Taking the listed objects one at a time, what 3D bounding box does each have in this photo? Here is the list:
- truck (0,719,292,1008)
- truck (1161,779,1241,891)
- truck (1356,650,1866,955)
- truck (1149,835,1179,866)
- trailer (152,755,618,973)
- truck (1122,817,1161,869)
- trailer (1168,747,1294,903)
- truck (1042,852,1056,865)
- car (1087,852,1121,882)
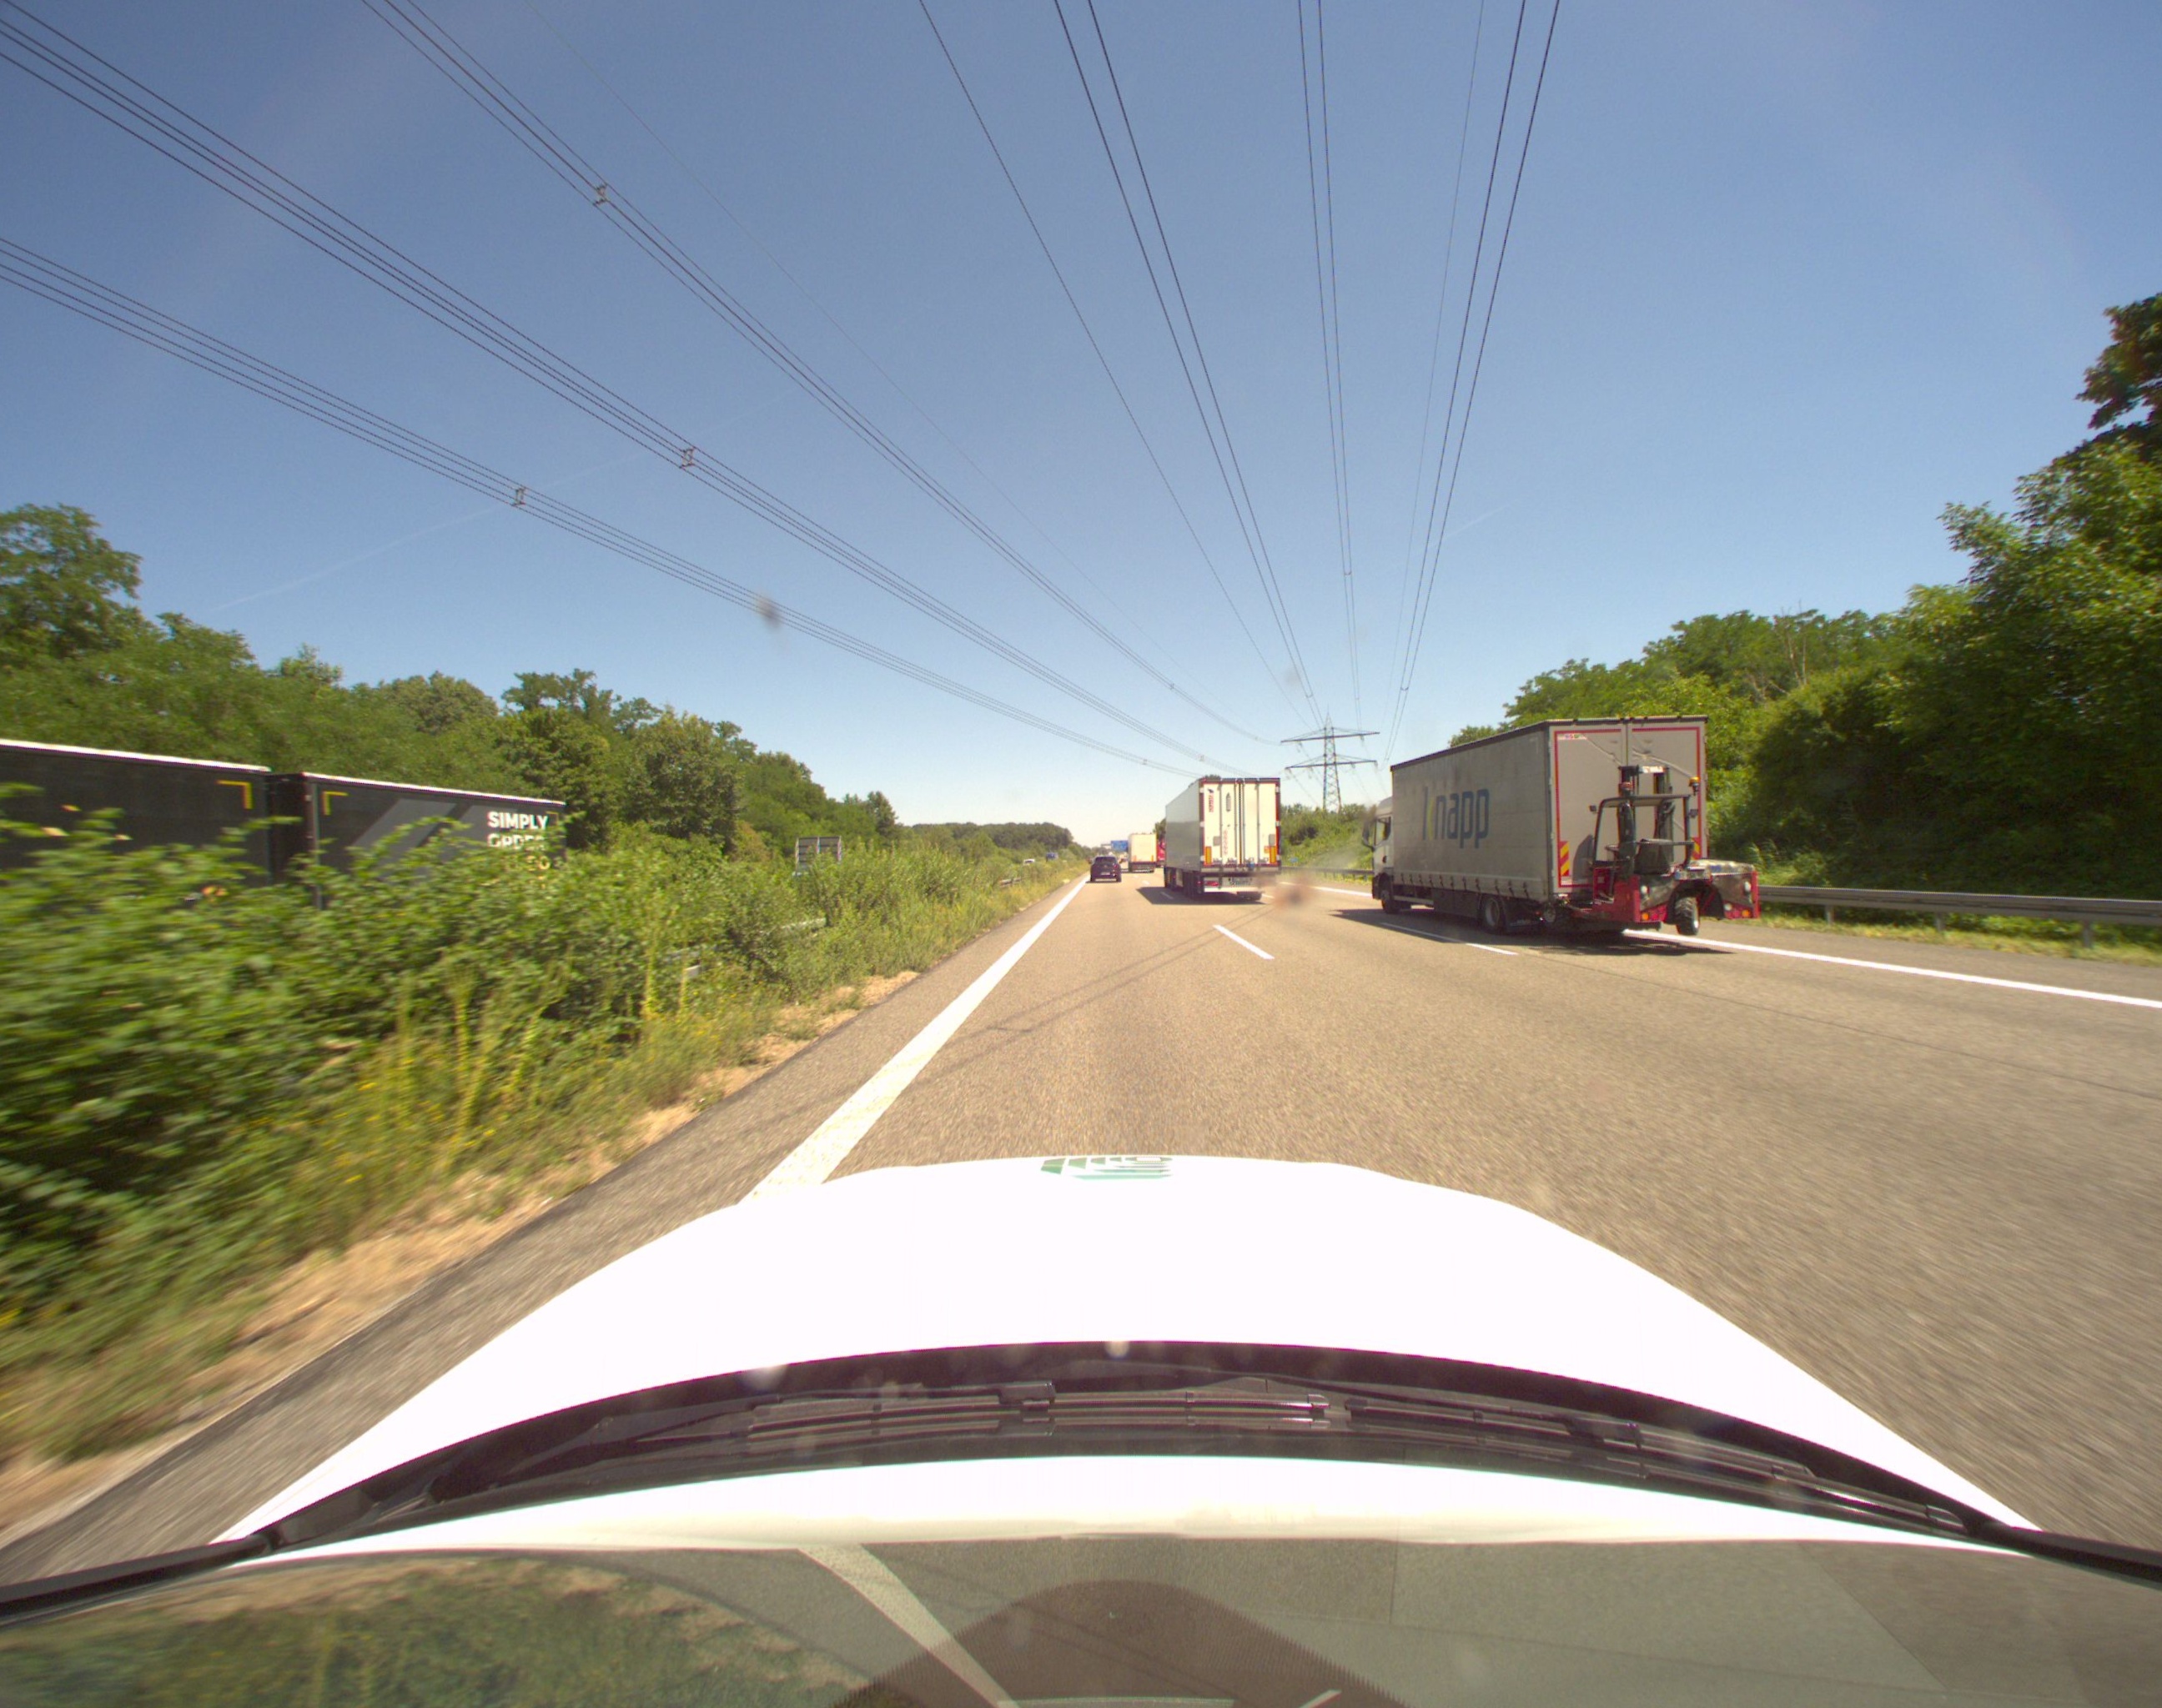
[{"bbox_3d":[-16.827,0.176,10.618,2.748,4.121,10.220,-2,-1,2],"label":"truck"},{"bbox_3d":[5.582,-0.825,38.904,3.075,4.885,6.600,0,-1,2],"label":"truck"},{"bbox_3d":[9.326,-0.679,17.171,3.557,4.245,11.658,0,0,2],"label":"truck"},{"bbox_3d":[12.777,-0.549,126.068,3.499,4.492,13.252,-1,0,1],"label":"truck"},{"bbox_3d":[-16.476,0.225,20.987,2.756,4.096,10.302,-3,-1,2],"label":"trailer"},{"bbox_3d":[6.318,-1.064,86.115,3.499,5.166,10.260,-1,0,1],"label":"truck"},{"bbox_3d":[5.352,-0.876,31.635,3.075,4.885,12.263,0,0,2],"label":"trailer"},{"bbox_3d":[-9.330,1.374,238.231,3.499,3.769,12.045,-1,0,1],"label":"truck"},{"bbox_3d":[1.438,0.802,52.676,1.987,1.772,3.999,-2,0,0],"label":"car"}]
